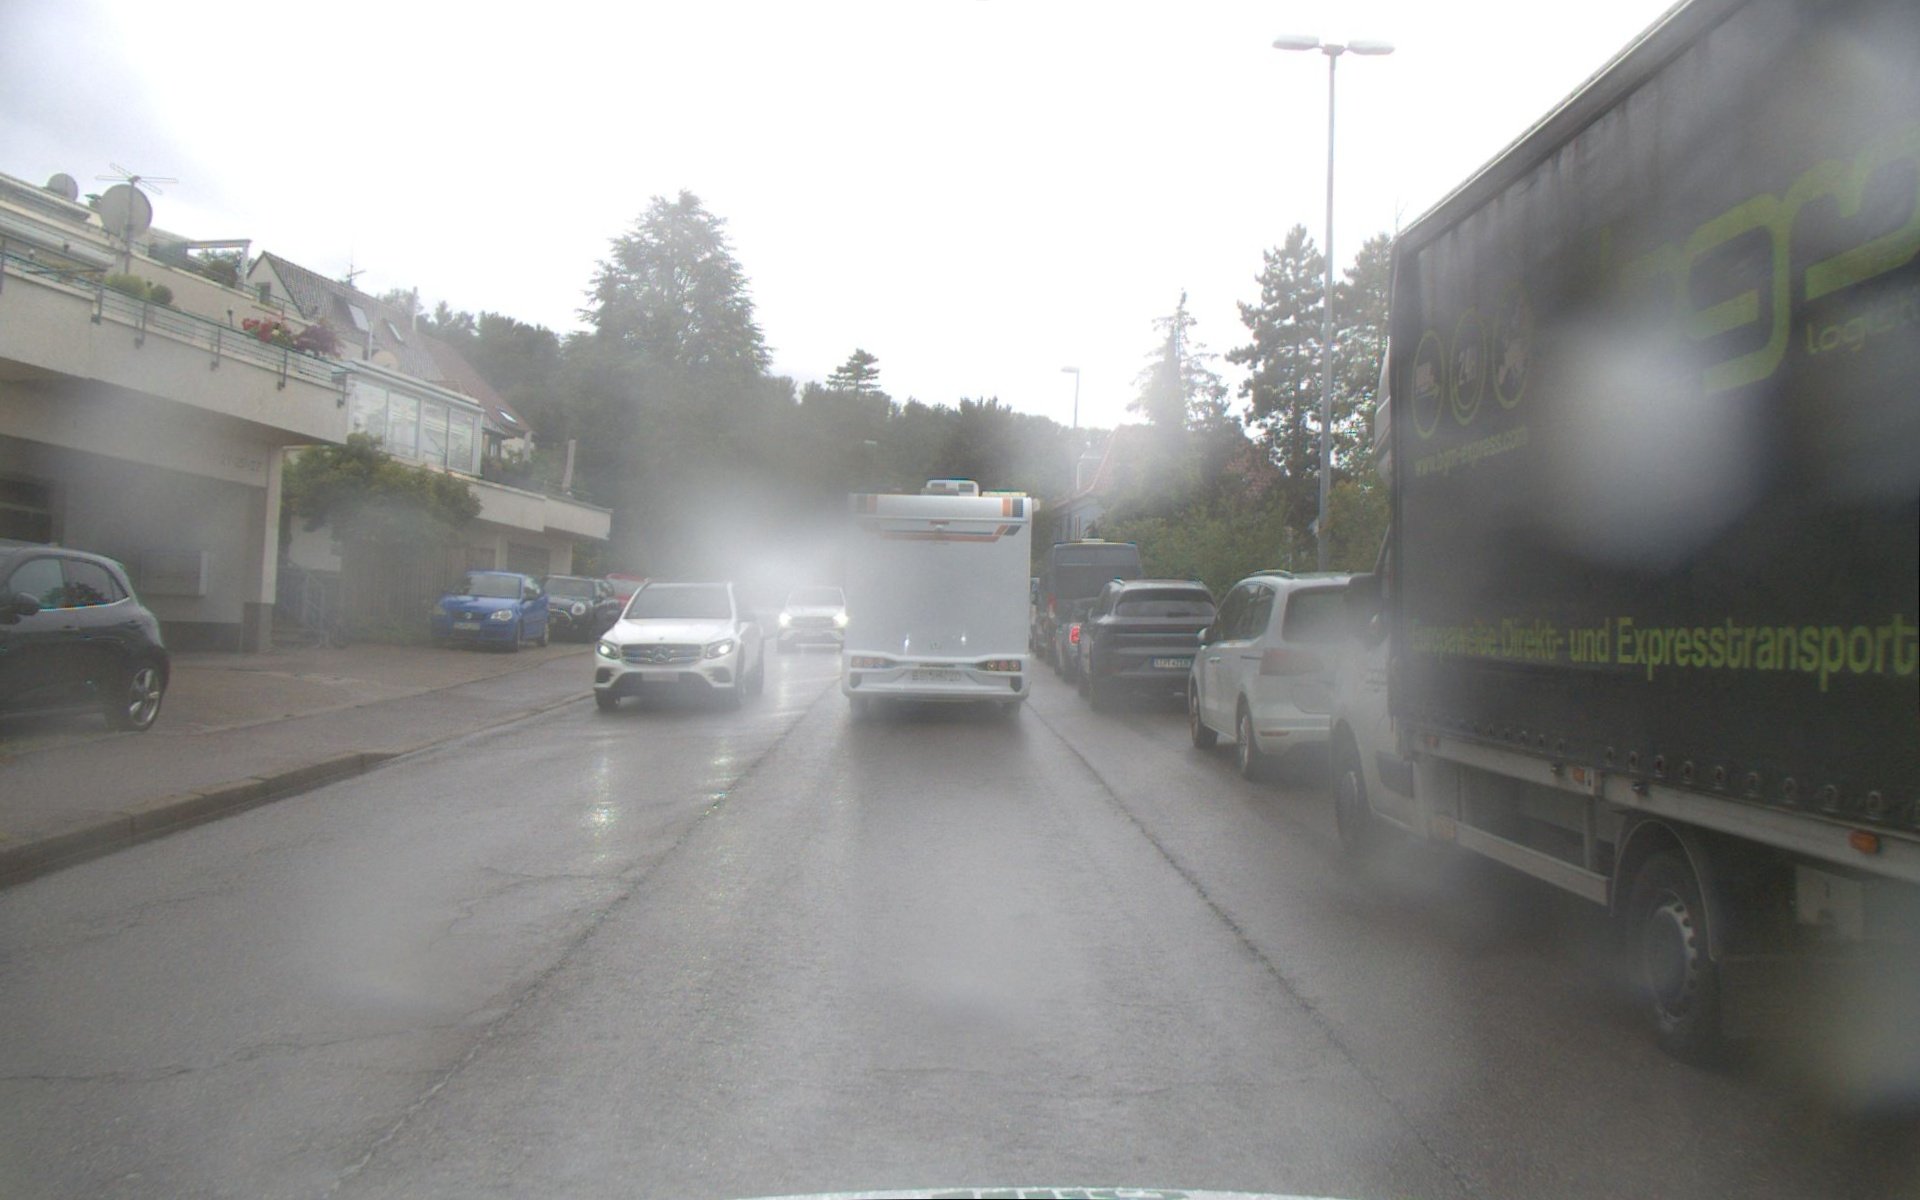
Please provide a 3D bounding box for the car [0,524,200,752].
[{"bbox_3d":[-7.991,0.242,13.152,1.655,1.615,4.198,7,1,2],"label":"car"}]

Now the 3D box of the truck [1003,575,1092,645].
[{"bbox_3d":[2.555,0.264,50.037,2.071,1.884,6.616,3,0,-2],"label":"truck"}]

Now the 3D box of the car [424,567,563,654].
[{"bbox_3d":[-8.998,0.163,32.207,1.575,1.459,3.958,5,1,-2],"label":"car"}]

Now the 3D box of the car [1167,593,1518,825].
[{"bbox_3d":[3.195,0.814,15.081,1.808,1.713,5.637,0,0,-1],"label":"car"}]

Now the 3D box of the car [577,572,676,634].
[{"bbox_3d":[-9.197,0.064,45.914,1.739,1.461,4.587,6,0,-1],"label":"car"}]

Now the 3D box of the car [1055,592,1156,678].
[{"bbox_3d":[2.579,0.582,29.972,1.556,1.454,3.798,0,0,1],"label":"car"}]

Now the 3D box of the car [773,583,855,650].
[{"bbox_3d":[-3.731,0.380,42.883,1.762,1.594,4.383,2,0,-1],"label":"car"}]

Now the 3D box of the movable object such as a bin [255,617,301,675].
[{"bbox_3d":[-12.853,0.866,31.166,0.535,1.059,0.562,3,0,13],"label":"movable object such as a bin"}]

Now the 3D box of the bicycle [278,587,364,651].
[{"bbox_3d":[-11.186,0.330,28.929,1.534,1.024,0.477,3,0,28],"label":"bicycle"}]

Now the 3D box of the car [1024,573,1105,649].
[{"bbox_3d":[2.699,0.256,43.679,1.790,1.874,5.269,0,0,0],"label":"car"}]

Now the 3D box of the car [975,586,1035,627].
[{"bbox_3d":[1.732,0.245,64.540,1.654,1.482,4.050,2,0,-8],"label":"car"}]

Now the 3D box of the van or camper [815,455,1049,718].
[{"bbox_3d":[-0.336,-0.083,21.899,2.562,2.903,6.029,2,-1,0],"label":"van or camper"}]

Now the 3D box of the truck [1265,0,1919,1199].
[{"bbox_3d":[3.314,-0.214,7.176,2.387,3.393,7.963,0,0,-1],"label":"truck"}]

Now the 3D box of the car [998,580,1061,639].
[{"bbox_3d":[2.415,0.305,58.703,1.822,1.954,5.078,2,0,-2],"label":"car"}]

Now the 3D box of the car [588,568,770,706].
[{"bbox_3d":[-3.676,0.435,22.353,1.868,1.635,4.426,2,0,-3],"label":"car"}]

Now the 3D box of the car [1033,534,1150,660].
[{"bbox_3d":[2.790,-0.069,36.480,1.990,2.549,5.954,0,0,-1],"label":"car"}]

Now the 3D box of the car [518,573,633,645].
[{"bbox_3d":[-8.728,0.185,37.854,1.600,1.420,4.238,5,0,-1],"label":"car"}]

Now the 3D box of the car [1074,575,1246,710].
[{"bbox_3d":[2.686,0.530,23.202,1.896,1.701,4.695,0,0,1],"label":"car"}]
